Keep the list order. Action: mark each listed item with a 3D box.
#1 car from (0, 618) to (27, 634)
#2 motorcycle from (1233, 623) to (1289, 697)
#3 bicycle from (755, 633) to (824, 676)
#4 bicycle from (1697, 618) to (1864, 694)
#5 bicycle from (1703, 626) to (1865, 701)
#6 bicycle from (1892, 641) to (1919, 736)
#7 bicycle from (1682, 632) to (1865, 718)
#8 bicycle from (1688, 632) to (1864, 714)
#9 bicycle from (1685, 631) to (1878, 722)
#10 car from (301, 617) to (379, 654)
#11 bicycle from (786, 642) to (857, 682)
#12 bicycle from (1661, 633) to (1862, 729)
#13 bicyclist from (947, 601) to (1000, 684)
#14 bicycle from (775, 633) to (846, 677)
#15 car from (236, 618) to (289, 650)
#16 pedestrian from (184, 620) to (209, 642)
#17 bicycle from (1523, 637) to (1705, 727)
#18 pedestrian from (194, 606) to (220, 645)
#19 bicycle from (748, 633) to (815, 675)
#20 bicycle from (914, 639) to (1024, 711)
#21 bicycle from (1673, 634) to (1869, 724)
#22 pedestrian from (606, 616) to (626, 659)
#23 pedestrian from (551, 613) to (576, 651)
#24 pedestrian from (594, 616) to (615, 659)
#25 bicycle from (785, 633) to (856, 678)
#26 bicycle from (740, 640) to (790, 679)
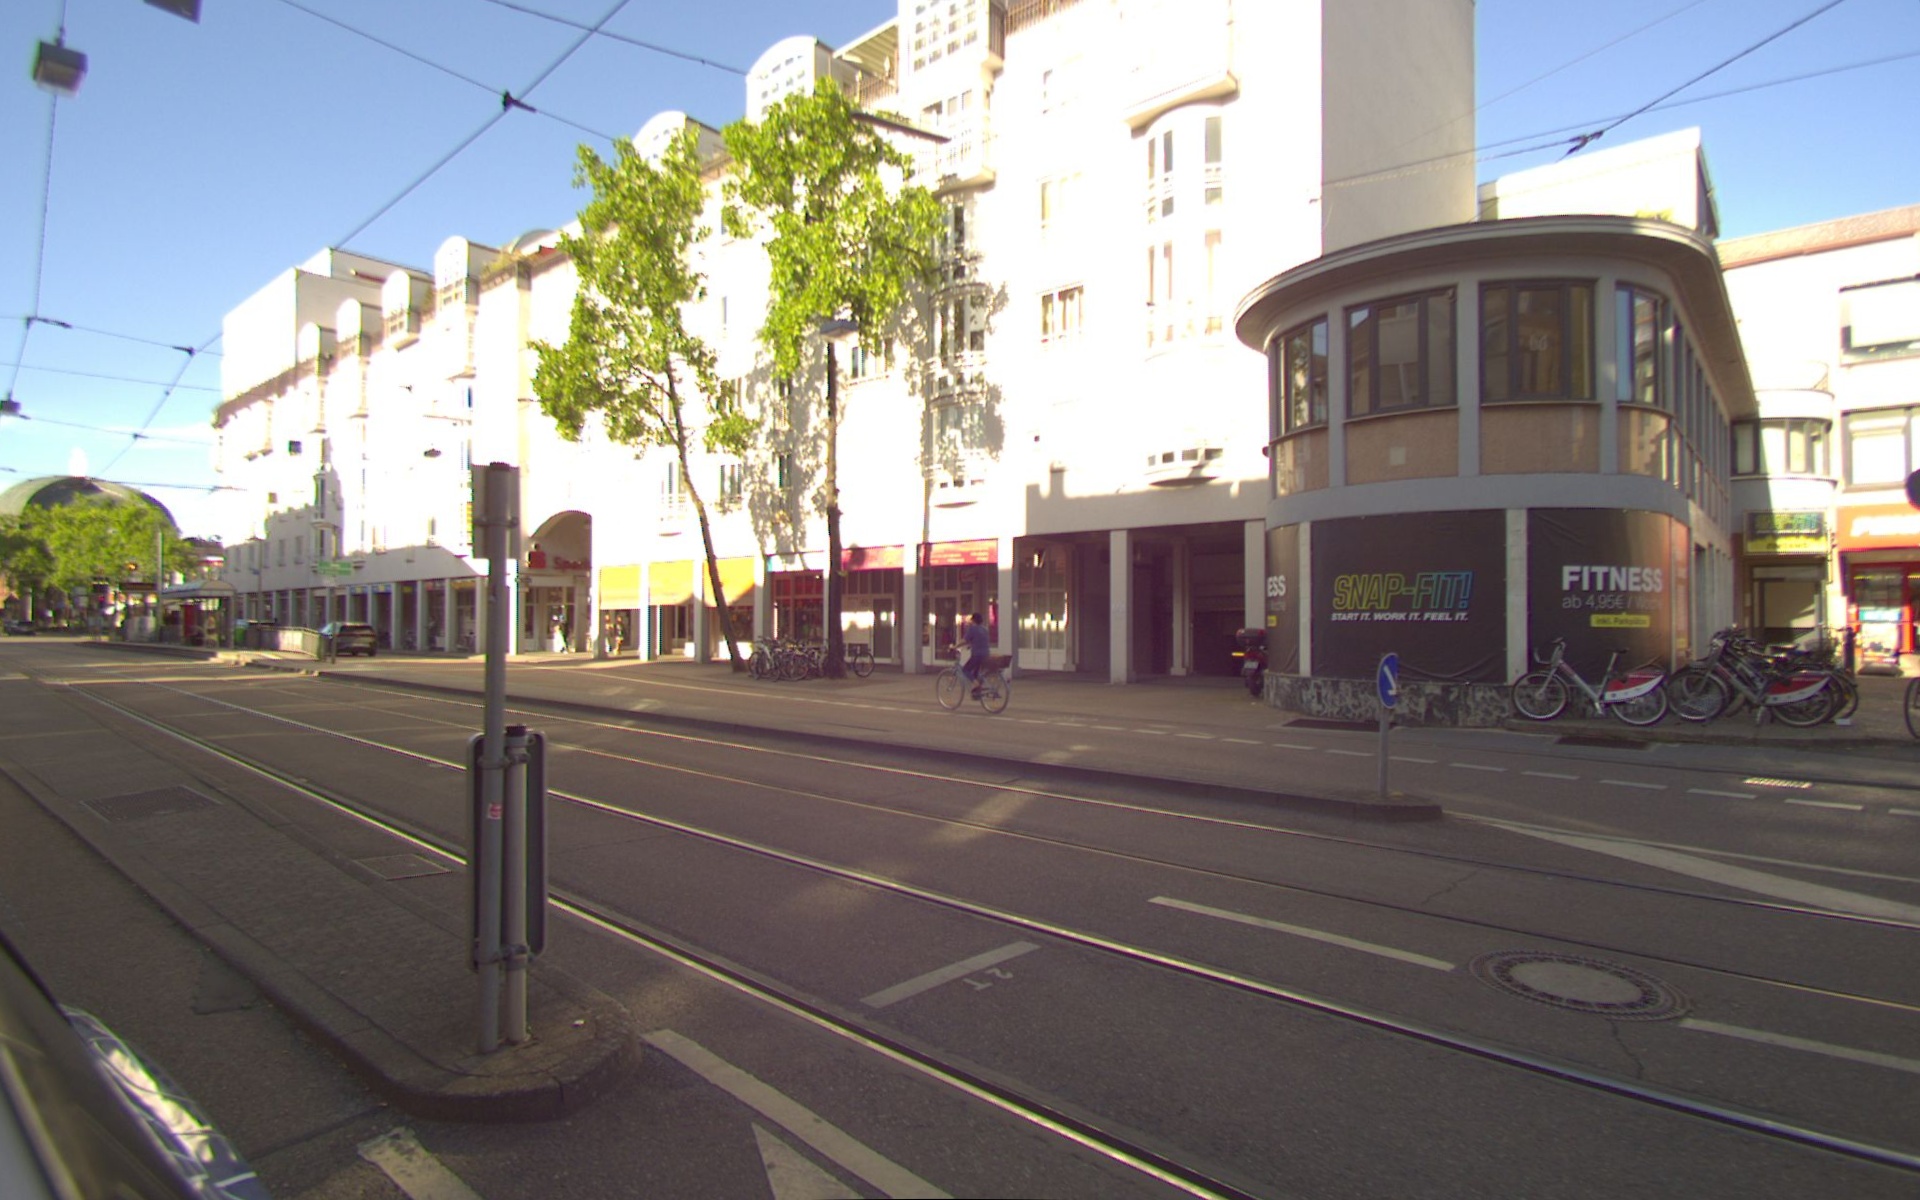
[{"bbox_3d":[-95.255,2.600,101.553,3.999,1.630,1.972,-1,-1,42],"label":"car"},{"bbox_3d":[5.629,1.090,18.865,0.671,1.272,1.971,-1,-1,26],"label":"motorcycle"},{"bbox_3d":[-4.538,1.445,27.077,1.850,1.085,0.465,1,-1,-41],"label":"bicycle"},{"bbox_3d":[12.191,0.810,15.113,1.873,1.085,0.459,-1,-1,32],"label":"bicycle"},{"bbox_3d":[12.602,0.946,15.544,1.873,1.085,0.459,-1,-1,32],"label":"bicycle"},{"bbox_3d":[11.510,0.995,11.657,1.847,1.044,0.427,0,-1,-24],"label":"bicycle"},{"bbox_3d":[10.920,0.983,13.664,1.874,1.085,0.459,-1,-1,34],"label":"bicycle"},{"bbox_3d":[11.472,1.000,14.309,1.873,1.085,0.459,-1,-1,32],"label":"bicycle"},{"bbox_3d":[10.556,0.953,13.088,1.874,1.095,0.459,-1,-1,34],"label":"bicycle"},{"bbox_3d":[-28.026,1.596,45.717,4.265,1.552,1.761,0,-3,41],"label":"car"},{"bbox_3d":[-3.452,1.529,25.291,1.726,0.939,0.571,1,-2,-40],"label":"bicycle"},{"bbox_3d":[9.758,0.963,12.409,1.874,1.088,0.459,-1,-1,34],"label":"bicycle"},{"bbox_3d":[0.227,0.704,17.156,0.719,1.372,0.556,0,-1,45],"label":"bicyclist"},{"bbox_3d":[-3.866,1.405,26.300,1.850,1.085,0.465,1,-1,-41],"label":"bicycle"},{"bbox_3d":[-38.003,1.847,55.090,1.758,1.681,4.776,2,-2,-42],"label":"car"},{"bbox_3d":[-35.430,1.454,46.968,0.747,0.996,0.784,-2,-1,41],"label":"pedestrian"},{"bbox_3d":[8.194,0.997,12.757,1.874,1.044,0.519,-1,-1,34],"label":"bicycle"},{"bbox_3d":[-32.652,1.112,43.895,0.747,1.657,0.784,-1,-1,41],"label":"pedestrian"},{"bbox_3d":[-4.898,1.460,27.810,1.851,1.085,0.512,1,-1,-44],"label":"bicycle"},{"bbox_3d":[0.130,1.259,17.196,2.005,1.132,0.557,-1,-5,45],"label":"bicycle"},{"bbox_3d":[10.167,0.967,12.773,1.874,1.044,0.459,-1,-1,34],"label":"bicycle"},{"bbox_3d":[-13.507,1.472,39.741,0.523,1.657,0.556,-1,-3,41],"label":"pedestrian"},{"bbox_3d":[-17.192,1.386,43.886,0.731,1.657,0.737,-1,-2,41],"label":"pedestrian"},{"bbox_3d":[-13.805,1.435,39.293,0.523,1.657,0.556,-1,-2,41],"label":"pedestrian"},{"bbox_3d":[-3.550,1.397,25.907,1.850,1.085,0.465,1,-1,-41],"label":"bicycle"},{"bbox_3d":[-4.979,1.493,25.738,0.464,0.939,1.757,1,-2,-39],"label":"bicycle"}]
